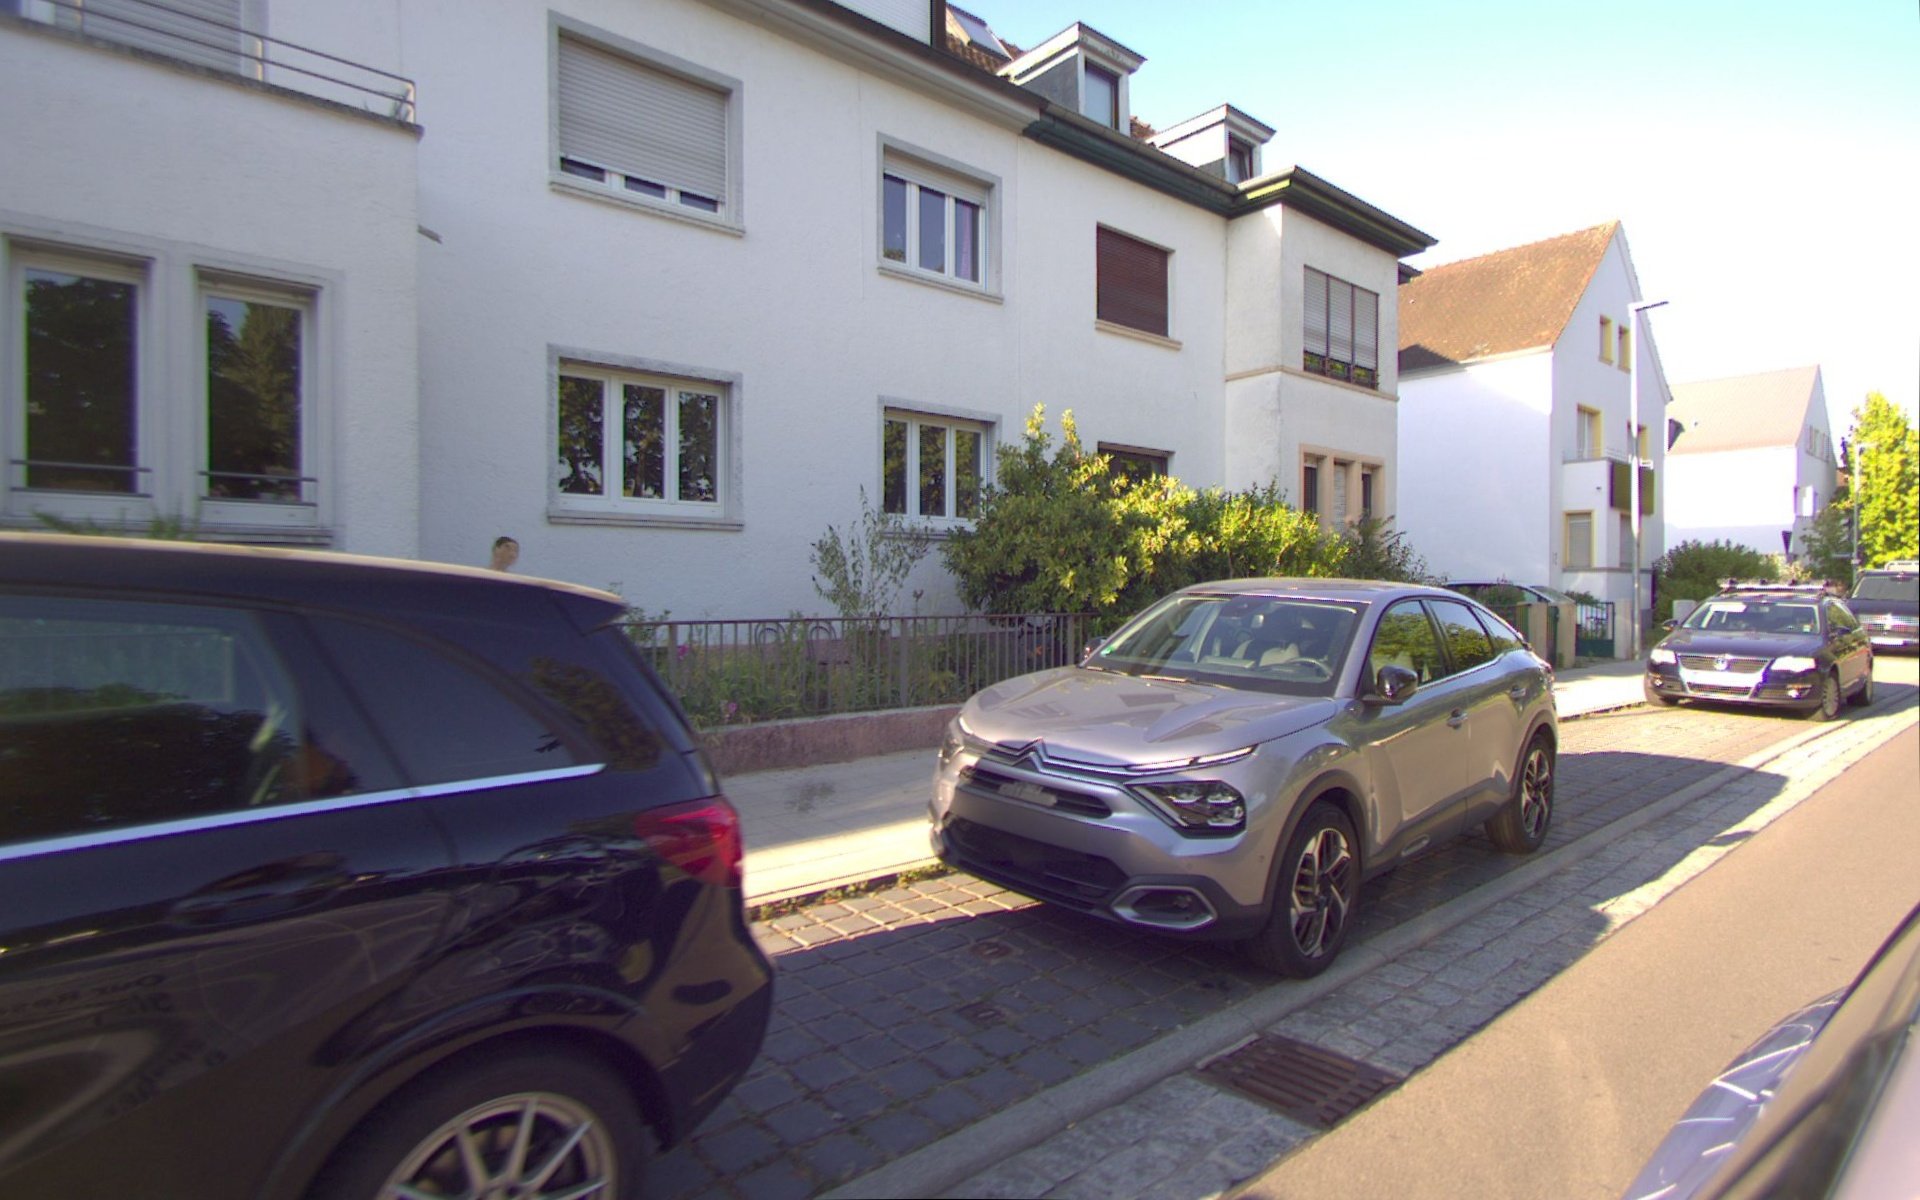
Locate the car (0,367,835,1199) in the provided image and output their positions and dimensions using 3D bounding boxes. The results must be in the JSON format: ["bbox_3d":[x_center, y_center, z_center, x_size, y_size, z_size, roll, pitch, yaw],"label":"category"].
[{"bbox_3d":[-2.527,0.504,1.554,4.337,1.706,1.836,0,2,-40],"label":"car"}]

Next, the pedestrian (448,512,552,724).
[{"bbox_3d":[-3.619,0.128,7.999,0.617,1.598,0.598,-1,0,-14],"label":"pedestrian"}]

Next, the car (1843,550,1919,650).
[{"bbox_3d":[22.554,-0.040,23.780,4.728,2.158,1.910,-1,3,-40],"label":"car"}]

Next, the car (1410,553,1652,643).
[{"bbox_3d":[12.245,-0.106,21.910,1.822,1.747,4.221,-1,2,-43],"label":"car"}]

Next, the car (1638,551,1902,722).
[{"bbox_3d":[10.380,0.332,12.849,4.394,1.793,1.798,-1,3,-41],"label":"car"}]

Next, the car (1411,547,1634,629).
[{"bbox_3d":[13.128,-0.251,23.802,1.822,1.748,4.220,-1,0,-43],"label":"car"}]

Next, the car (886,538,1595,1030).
[{"bbox_3d":[1.754,0.515,5.328,4.141,1.593,1.720,-2,4,-44],"label":"car"}]
